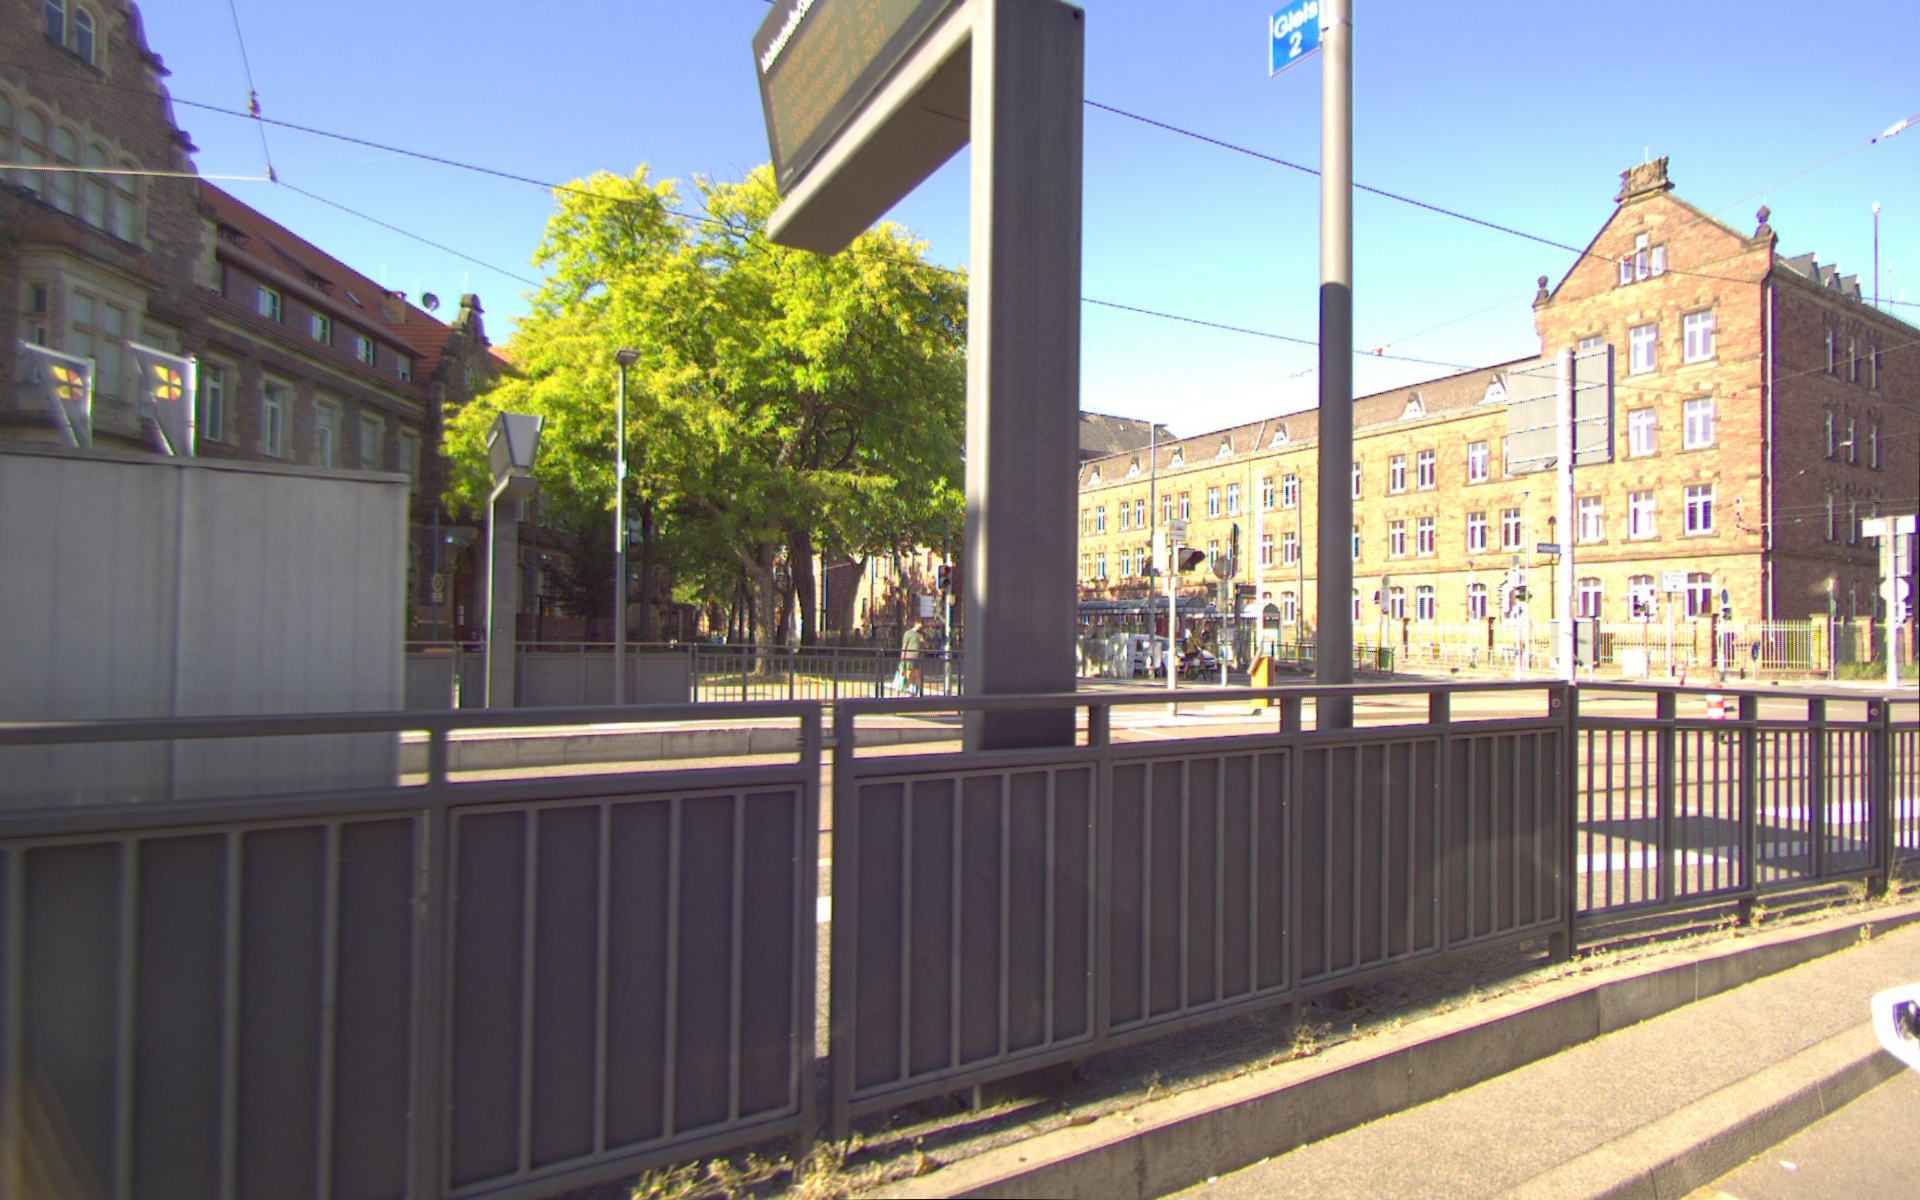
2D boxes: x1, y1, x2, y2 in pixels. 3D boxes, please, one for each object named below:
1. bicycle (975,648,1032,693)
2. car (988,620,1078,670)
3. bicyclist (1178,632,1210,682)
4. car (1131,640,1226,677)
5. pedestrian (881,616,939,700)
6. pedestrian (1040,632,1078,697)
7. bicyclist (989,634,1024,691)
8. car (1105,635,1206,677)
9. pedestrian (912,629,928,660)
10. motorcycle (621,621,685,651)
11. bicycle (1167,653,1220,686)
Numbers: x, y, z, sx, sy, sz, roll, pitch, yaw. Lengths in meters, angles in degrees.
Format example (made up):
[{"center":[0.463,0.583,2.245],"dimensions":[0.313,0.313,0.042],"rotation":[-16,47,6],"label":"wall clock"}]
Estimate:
[{"center":[1.113,1.769,25.418],"dimensions":[0.682,1.063,1.665],"rotation":[0,-2,34],"label":"bicycle"},{"center":[3.751,2.304,52.538],"dimensions":[2.235,2.485,5.005],"rotation":[2,-2,-30],"label":"car"},{"center":[7.935,1.933,34.065],"dimensions":[0.792,1.657,0.631],"rotation":[2,-1,-30],"label":"bicyclist"},{"center":[9.353,2.493,43.300],"dimensions":[1.854,1.466,4.049],"rotation":[2,-2,-27],"label":"car"},{"center":[-1.157,1.319,23.180],"dimensions":[1.082,1.885,0.724],"rotation":[2,-1,-28],"label":"pedestrian"},{"center":[2.461,1.605,25.070],"dimensions":[0.816,1.590,0.574],"rotation":[1,0,-10],"label":"pedestrian"},{"center":[1.189,1.572,25.536],"dimensions":[0.679,1.402,0.533],"rotation":[0,-2,34],"label":"bicyclist"},{"center":[7.756,2.209,40.215],"dimensions":[1.854,1.542,4.049],"rotation":[2,-2,-27],"label":"car"},{"center":[-2.109,2.342,52.967],"dimensions":[0.533,1.619,0.712],"rotation":[2,-1,-29],"label":"pedestrian"},{"center":[-19.372,2.298,63.445],"dimensions":[1.288,1.852,3.759],"rotation":[0,-2,38],"label":"motorcycle"},{"center":[7.914,2.350,34.074],"dimensions":[0.792,1.027,1.727],"rotation":[2,-2,-29],"label":"bicycle"}]
